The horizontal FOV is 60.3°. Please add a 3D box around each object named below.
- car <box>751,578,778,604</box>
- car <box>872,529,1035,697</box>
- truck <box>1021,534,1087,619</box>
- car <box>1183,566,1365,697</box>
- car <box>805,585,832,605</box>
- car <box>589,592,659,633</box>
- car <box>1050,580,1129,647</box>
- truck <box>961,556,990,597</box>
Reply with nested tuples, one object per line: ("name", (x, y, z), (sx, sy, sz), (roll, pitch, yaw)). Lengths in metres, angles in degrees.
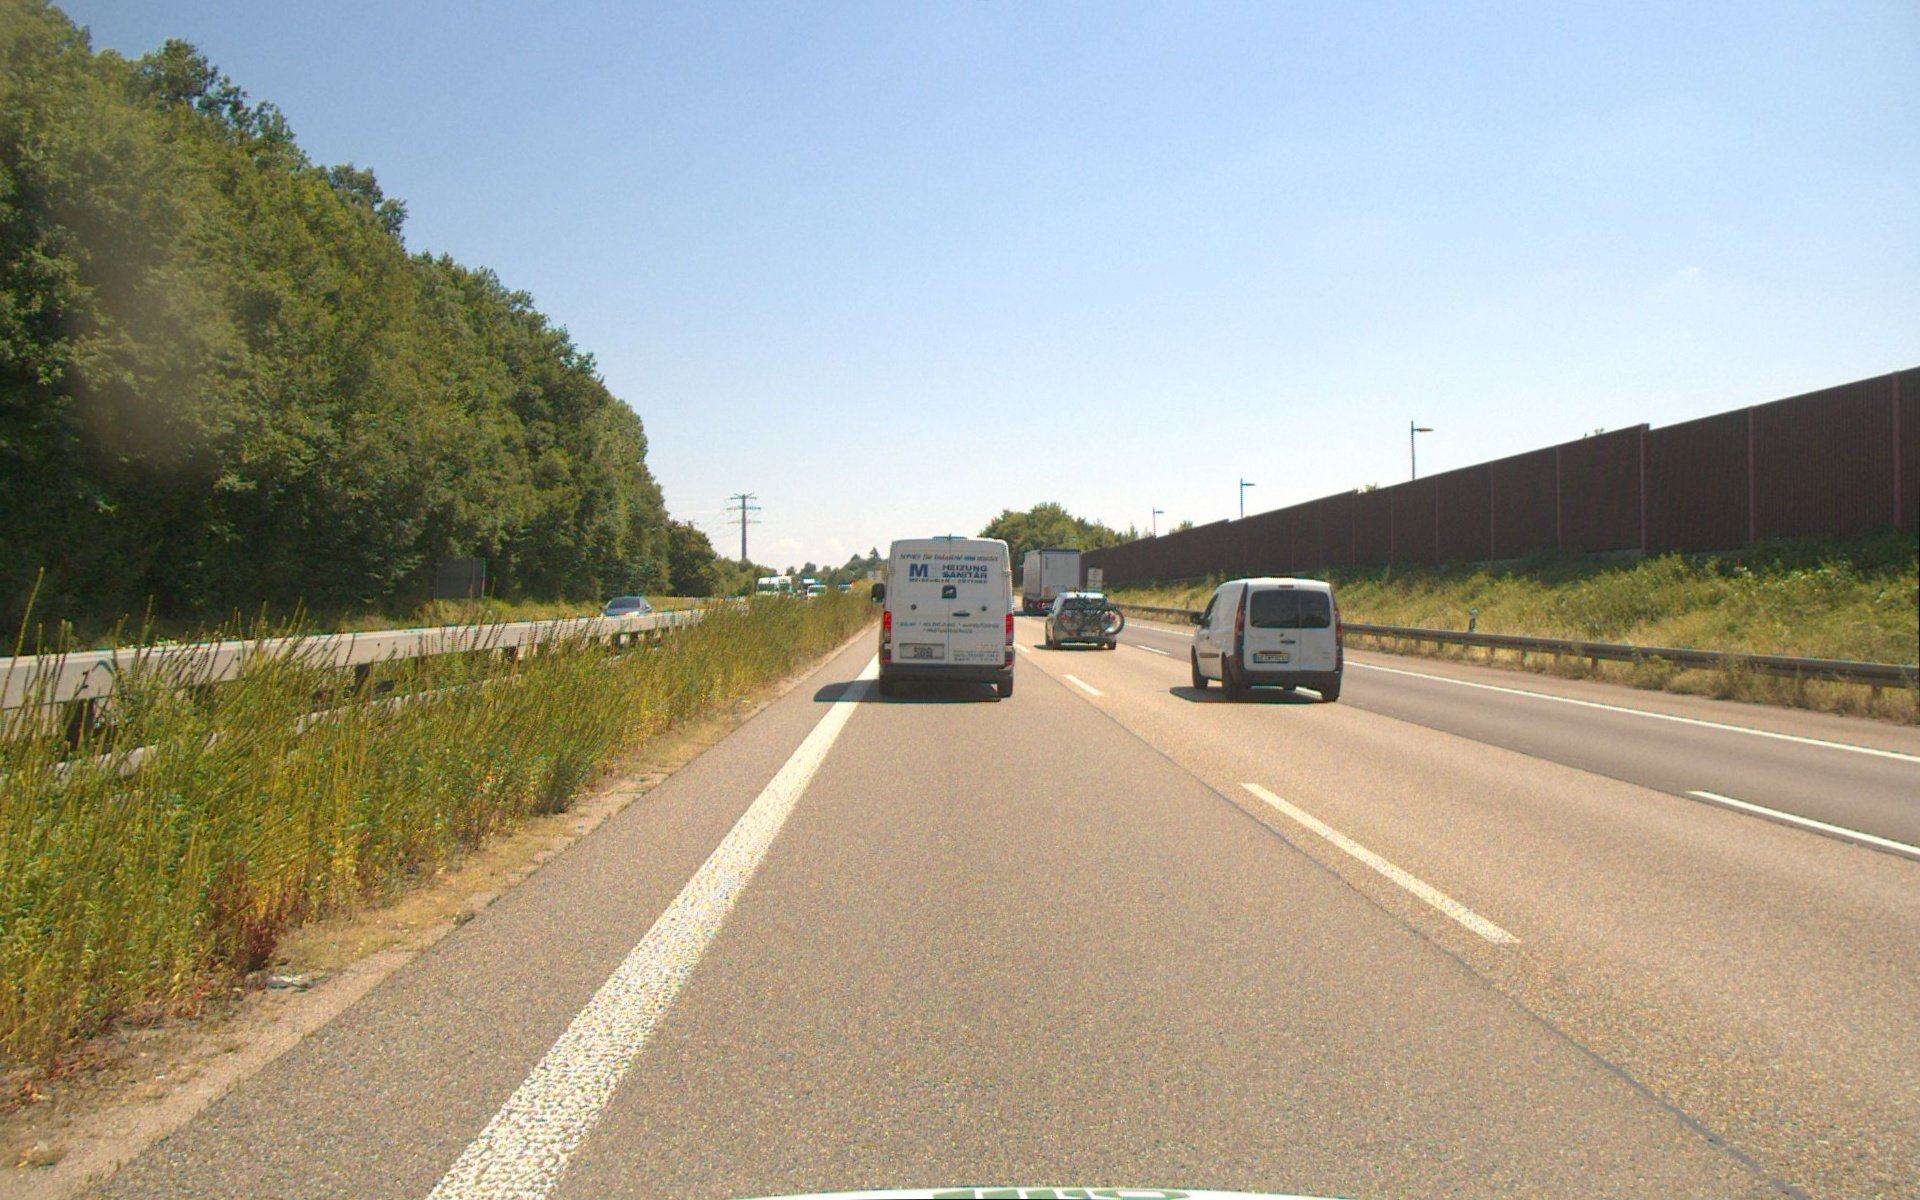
("car", (-18.702, -0.864, 158.403), (2.081, 2.380, 5.084), (-2, 0, -1))
("car", (-0.227, 0.193, 25.582), (2.139, 2.293, 5.358), (1, 0, -4))
("truck", (5.966, -1.390, 107.360), (3.710, 5.087, 12.519), (1, 0, 1))
("car", (4.825, 0.466, 25.999), (1.911, 1.870, 4.176), (-1, 0, -2))
("car", (-12.129, -0.459, 142.036), (1.953, 1.615, 4.425), (-2, 0, -1))
("car", (-13.681, 0.479, 67.565), (1.953, 1.545, 4.721), (-2, 0, -1))
("car", (3.561, 0.377, 46.042), (1.935, 1.763, 4.089), (-1, 0, 1))
("truck", (2.101, -2.998, 218.644), (3.710, 5.087, 12.519), (1, 0, 1))
